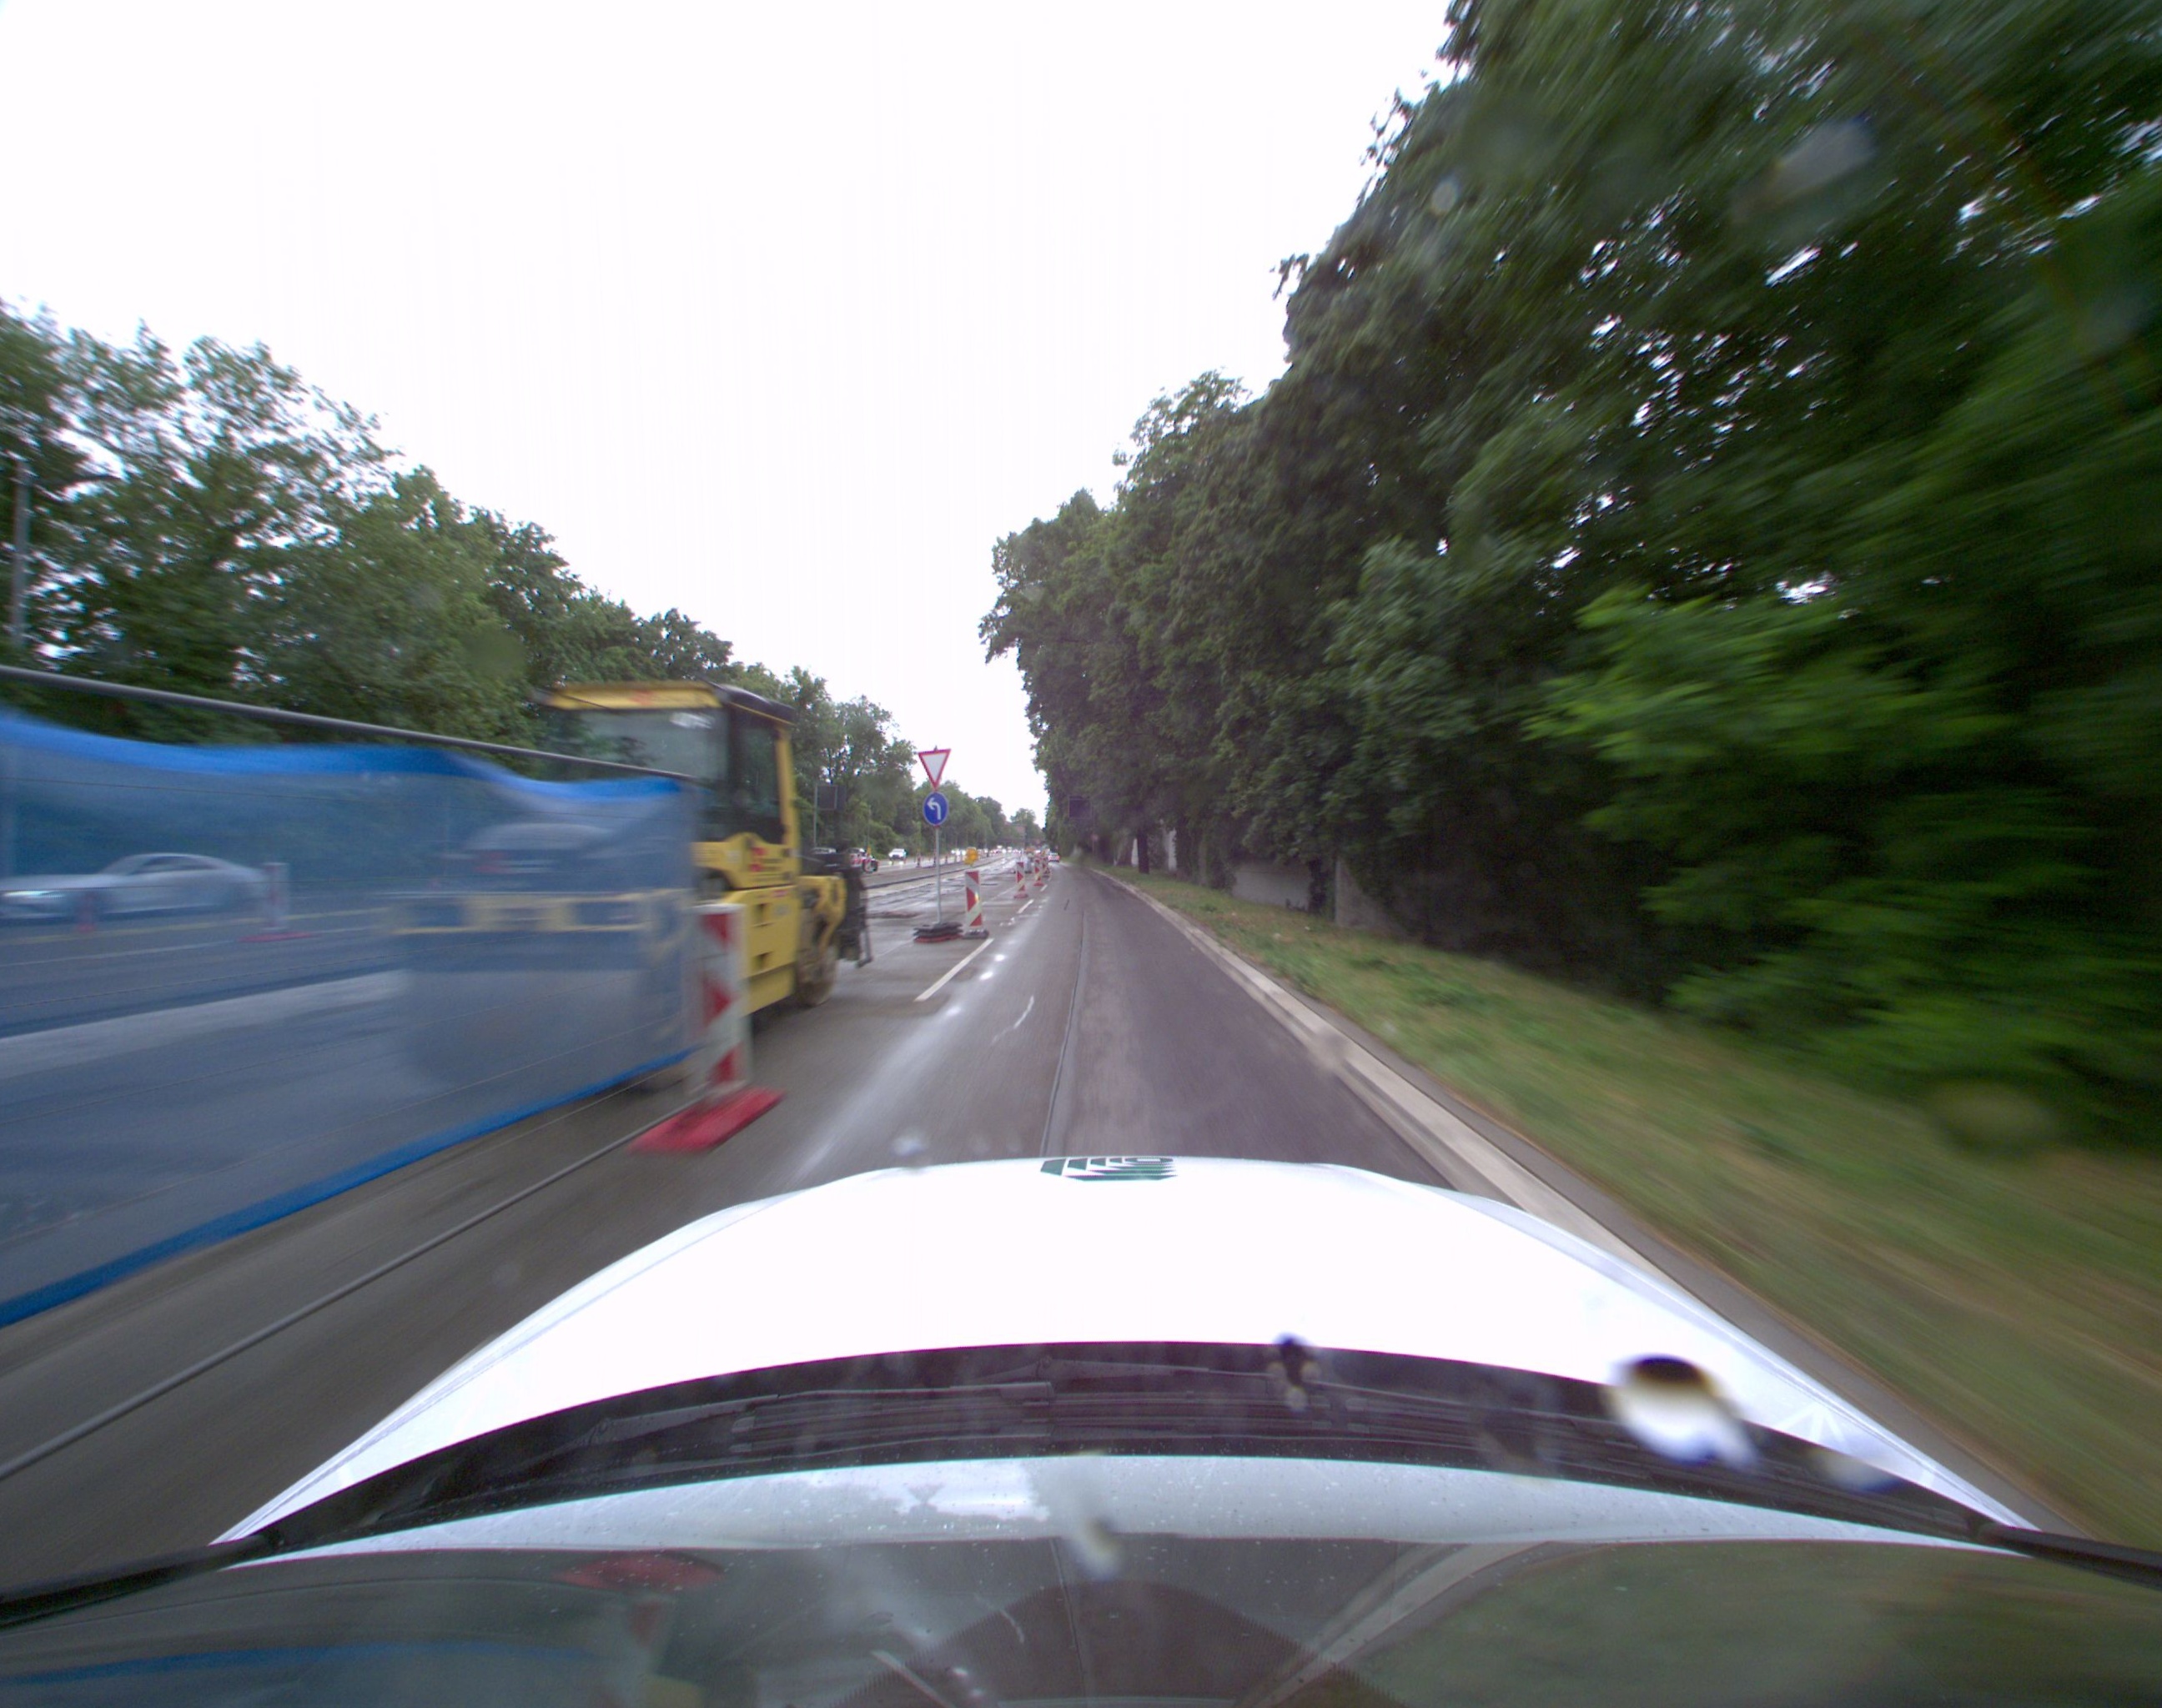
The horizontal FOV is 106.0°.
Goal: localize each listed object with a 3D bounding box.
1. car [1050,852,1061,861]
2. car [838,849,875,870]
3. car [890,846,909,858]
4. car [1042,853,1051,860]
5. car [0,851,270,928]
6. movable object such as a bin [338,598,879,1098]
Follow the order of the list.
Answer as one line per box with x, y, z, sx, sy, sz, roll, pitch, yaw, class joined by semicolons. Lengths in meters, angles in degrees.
-4.110;0.419;130.184;1.694;1.336;3.486;-1;0;-4;car
-15.443;0.356;56.257;1.604;1.404;4.037;1;0;-3;car
-23.856;-0.261;107.243;1.662;1.541;4.155;-2;0;-2;car
-6.888;0.538;163.536;1.850;1.433;3.729;-1;0;-1;car
-20.558;0.655;17.475;1.778;1.426;4.470;0;0;1;car
-3.477;-0.048;7.495;1.797;2.985;5.247;0;0;2;movable object such as a bin
